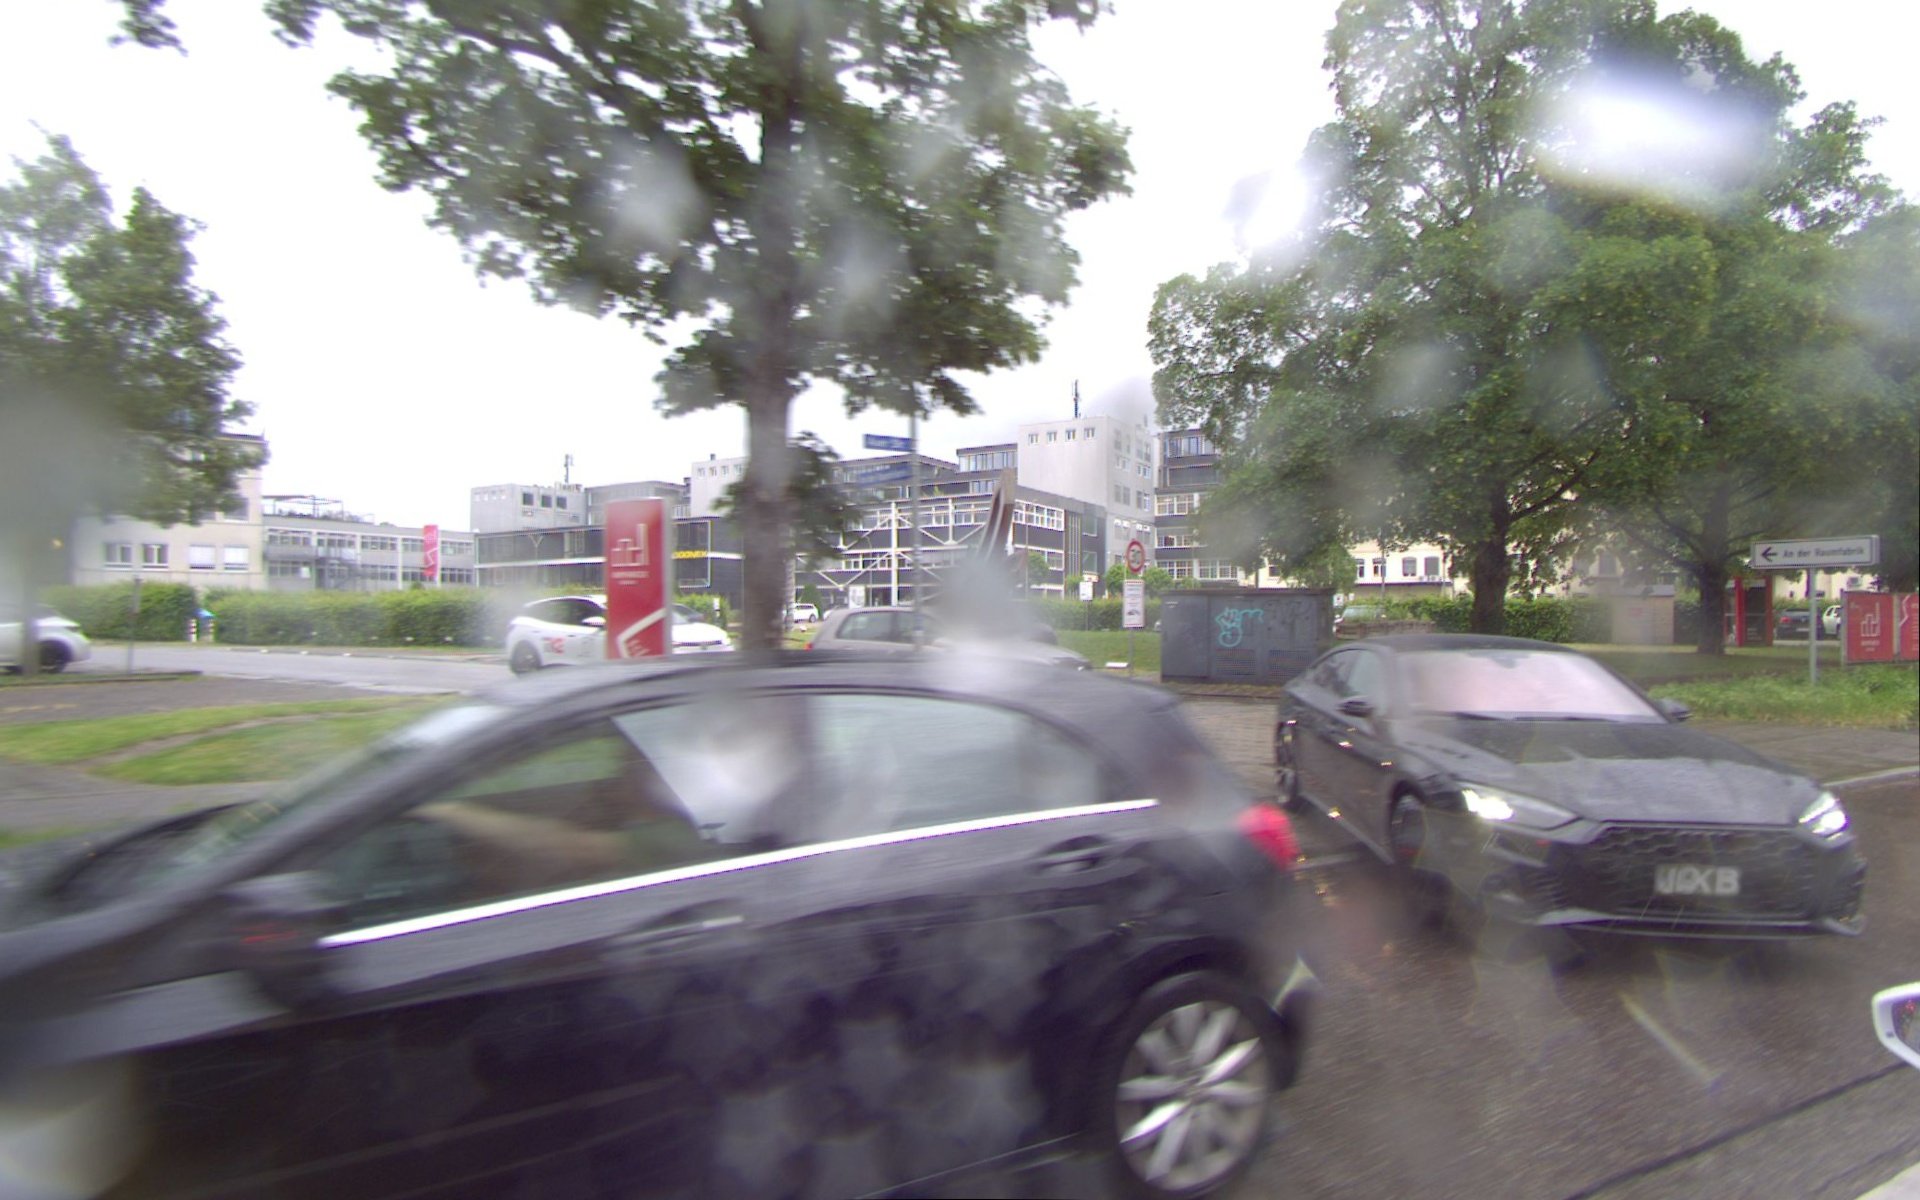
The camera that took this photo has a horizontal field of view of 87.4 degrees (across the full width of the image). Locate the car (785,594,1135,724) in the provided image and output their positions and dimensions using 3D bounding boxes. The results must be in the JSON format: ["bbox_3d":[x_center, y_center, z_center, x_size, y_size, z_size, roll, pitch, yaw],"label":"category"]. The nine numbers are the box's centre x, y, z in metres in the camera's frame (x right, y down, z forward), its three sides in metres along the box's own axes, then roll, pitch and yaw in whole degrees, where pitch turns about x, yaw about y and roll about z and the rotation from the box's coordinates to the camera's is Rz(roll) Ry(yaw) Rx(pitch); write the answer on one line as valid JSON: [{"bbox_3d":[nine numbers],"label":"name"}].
[{"bbox_3d":[-0.058,0.669,13.406,4.265,1.414,2.008,1,0,33],"label":"car"}]

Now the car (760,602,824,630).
[{"bbox_3d":[-12.713,1.191,76.334,1.967,2.040,4.838,-1,0,35],"label":"car"}]

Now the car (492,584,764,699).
[{"bbox_3d":[-5.738,0.640,17.188,4.569,1.729,2.040,0,0,33],"label":"car"}]

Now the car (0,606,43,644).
[{"bbox_3d":[-51.844,1.333,52.861,1.964,2.040,4.943,-1,-1,28],"label":"car"}]

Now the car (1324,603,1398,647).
[{"bbox_3d":[15.445,0.938,38.580,1.773,1.604,3.986,-1,-1,36],"label":"car"}]

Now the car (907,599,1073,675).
[{"bbox_3d":[0.776,0.763,22.542,1.759,1.529,4.288,-1,-1,33],"label":"car"}]

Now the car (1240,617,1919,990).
[{"bbox_3d":[3.341,0.861,6.514,2.044,1.473,4.931,-1,-1,5],"label":"car"}]

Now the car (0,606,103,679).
[{"bbox_3d":[-19.433,0.825,19.254,1.595,1.397,4.299,-1,-1,31],"label":"car"}]

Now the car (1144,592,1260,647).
[{"bbox_3d":[7.526,0.563,30.926,1.968,1.547,4.418,0,0,36],"label":"car"}]

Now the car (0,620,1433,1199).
[{"bbox_3d":[-0.994,0.772,2.597,4.280,1.379,1.721,0,-1,-26],"label":"car"}]

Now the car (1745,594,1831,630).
[{"bbox_3d":[37.578,0.571,45.686,1.962,1.578,3.998,0,-2,24],"label":"car"}]

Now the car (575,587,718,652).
[{"bbox_3d":[-11.302,0.668,36.565,1.965,2.180,4.963,0,0,31],"label":"car"}]
